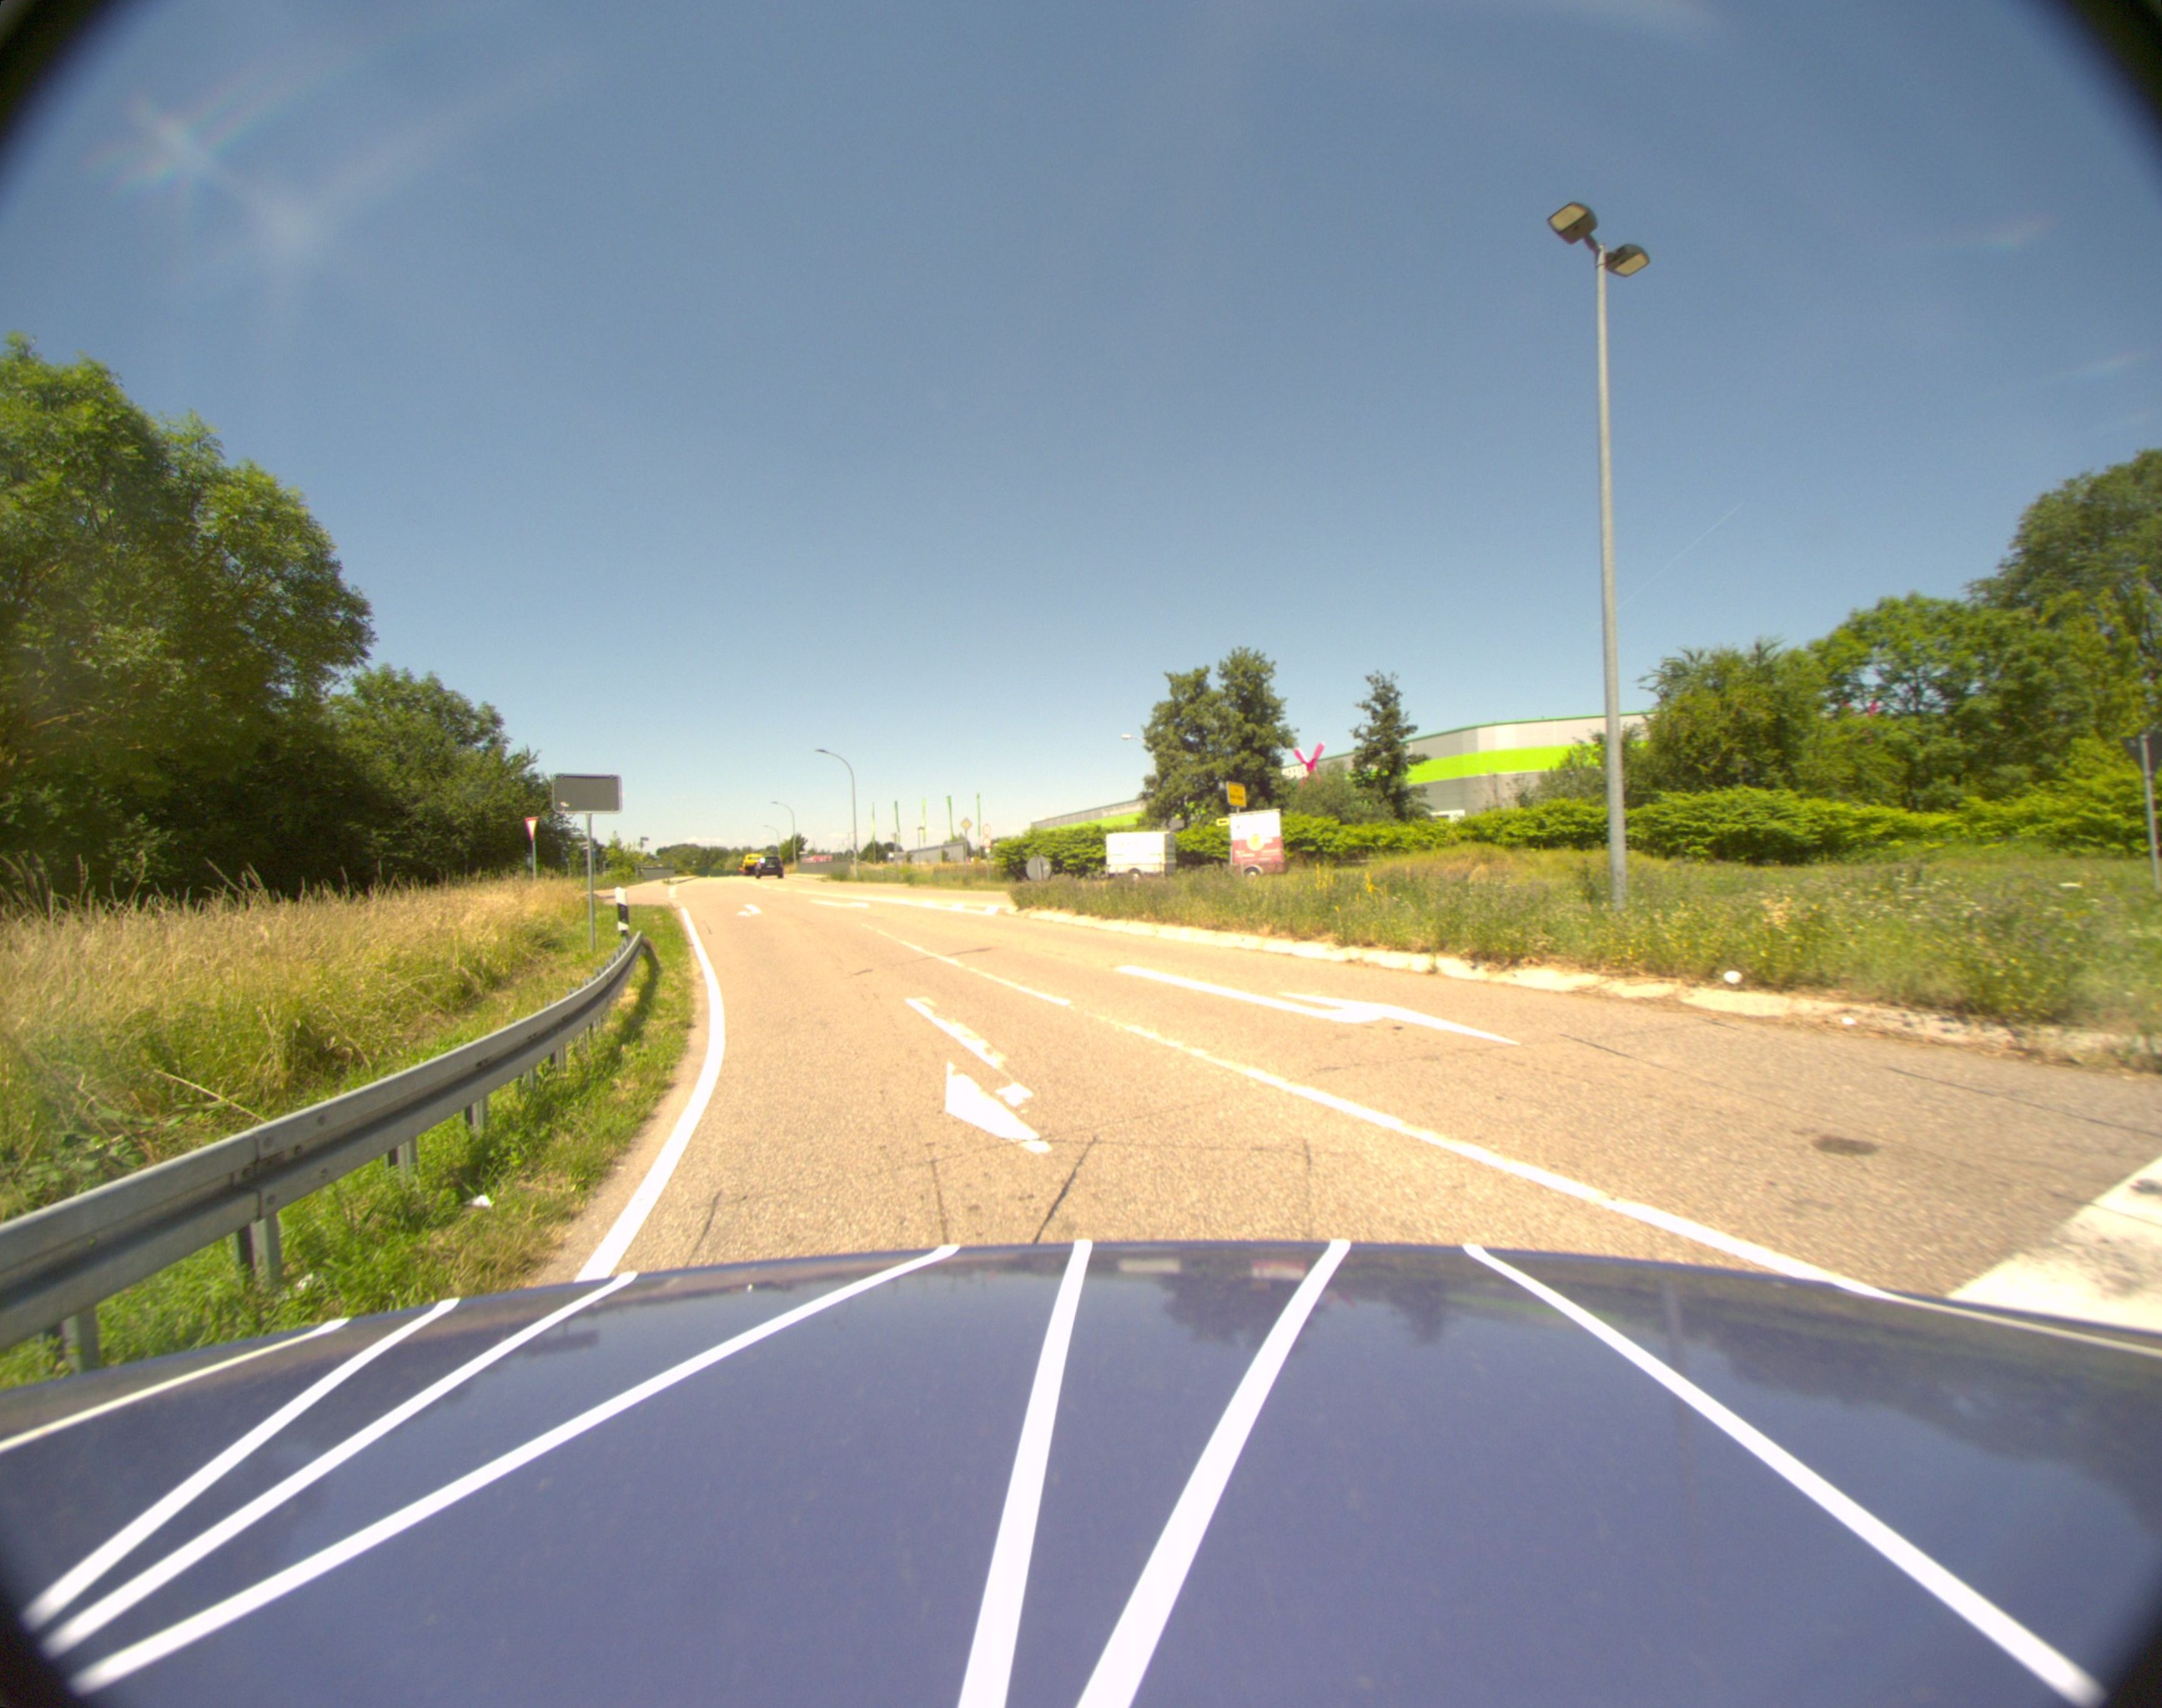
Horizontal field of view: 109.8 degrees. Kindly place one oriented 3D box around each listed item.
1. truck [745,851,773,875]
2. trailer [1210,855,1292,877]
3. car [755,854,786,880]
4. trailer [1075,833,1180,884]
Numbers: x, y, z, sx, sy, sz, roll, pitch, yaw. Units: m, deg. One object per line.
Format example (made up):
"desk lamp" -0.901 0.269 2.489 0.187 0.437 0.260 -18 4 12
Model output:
"truck" -33.365 0.896 78.590 2.321 2.324 9.031 0 0 -25
"trailer" 6.799 0.490 30.388 2.845 0.734 1.568 -2 2 28
"car" -22.536 0.886 55.070 1.910 1.693 3.991 -1 2 -24
"trailer" 1.979 0.180 32.443 3.950 2.002 1.859 -2 2 28
